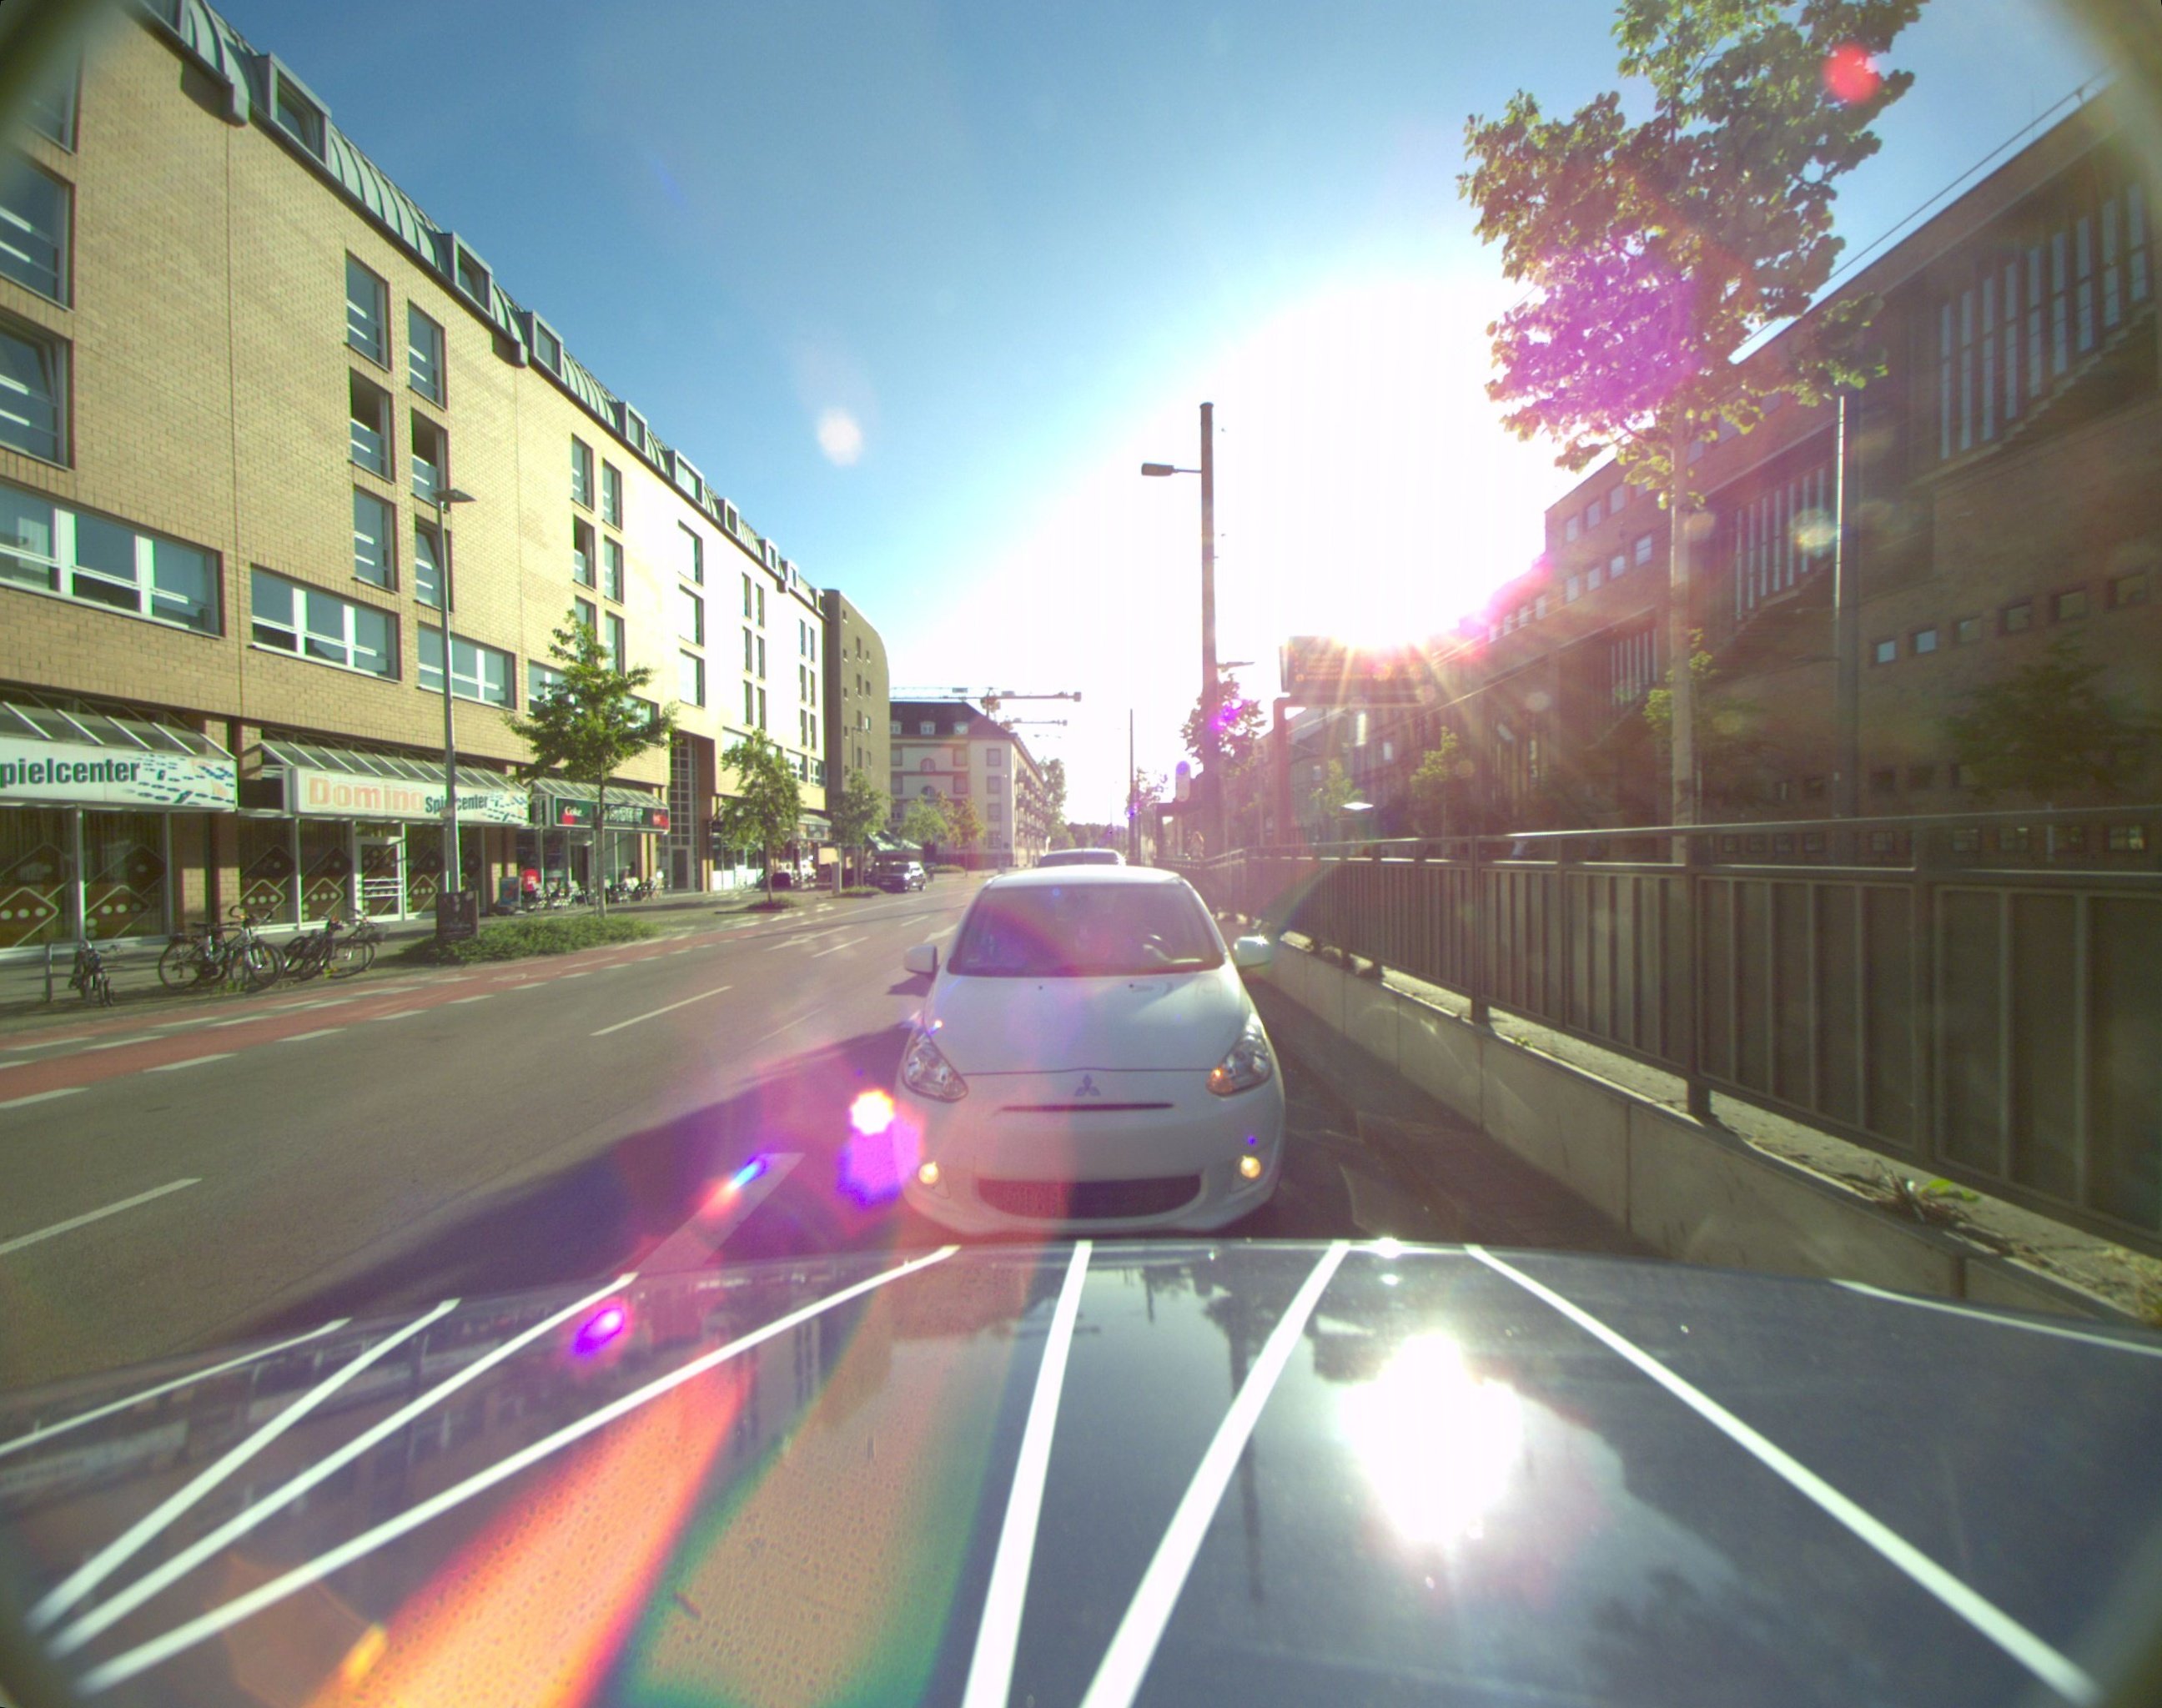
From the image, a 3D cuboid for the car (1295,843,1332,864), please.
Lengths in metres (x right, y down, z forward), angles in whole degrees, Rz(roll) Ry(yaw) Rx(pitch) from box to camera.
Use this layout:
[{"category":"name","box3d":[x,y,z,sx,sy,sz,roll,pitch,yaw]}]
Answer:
[{"category":"car","box3d":[17.232,-0.025,56.446,1.702,1.477,3.704,-1,0,1]}]

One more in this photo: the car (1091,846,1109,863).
[{"category":"car","box3d":[2.102,0.051,86.903,1.998,1.958,4.000,-1,0,1]}]

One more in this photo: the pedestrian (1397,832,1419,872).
[{"category":"pedestrian","box3d":[14.454,-0.088,33.551,0.692,1.732,0.586,-1,1,-2]}]

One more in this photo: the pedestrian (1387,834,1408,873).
[{"category":"pedestrian","box3d":[14.481,-0.019,34.793,0.692,1.732,0.586,-1,1,-2]}]

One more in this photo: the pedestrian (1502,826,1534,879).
[{"category":"pedestrian","box3d":[14.407,-0.047,25.059,0.692,1.732,0.586,-1,1,-2]}]

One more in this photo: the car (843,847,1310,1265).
[{"category":"car","box3d":[0.014,0.722,4.854,1.640,1.458,4.186,-2,1,1]}]

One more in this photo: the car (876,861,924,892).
[{"category":"car","box3d":[-9.854,1.188,41.614,1.655,1.521,3.693,-2,1,1]}]

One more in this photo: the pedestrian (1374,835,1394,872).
[{"category":"pedestrian","box3d":[14.382,-0.016,36.096,0.692,1.732,0.586,-1,1,-2]}]

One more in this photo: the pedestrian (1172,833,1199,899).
[{"category":"pedestrian","box3d":[3.272,0.364,23.664,0.783,2.002,0.881,-1,1,9]}]

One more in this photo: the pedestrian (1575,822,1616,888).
[{"category":"pedestrian","box3d":[13.907,0.023,20.534,0.692,1.732,0.586,-1,1,-2]}]

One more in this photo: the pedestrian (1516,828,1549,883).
[{"category":"pedestrian","box3d":[14.429,0.044,24.309,0.692,1.732,0.586,-1,1,-2]}]

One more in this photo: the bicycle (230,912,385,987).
[{"category":"bicycle","box3d":[-12.393,1.514,12.207,1.774,1.065,0.737,0,2,3]}]

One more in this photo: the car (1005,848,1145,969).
[{"category":"car","box3d":[-0.061,0.775,13.152,1.955,1.652,4.355,-2,1,1]}]

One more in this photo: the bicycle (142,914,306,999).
[{"category":"bicycle","box3d":[-12.355,1.464,10.975,1.774,1.135,0.553,0,2,3]}]

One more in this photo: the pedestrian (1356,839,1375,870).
[{"category":"pedestrian","box3d":[14.477,0.032,38.660,0.692,1.566,0.586,-1,1,-2]}]

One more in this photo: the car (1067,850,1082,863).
[{"category":"car","box3d":[-0.782,0.276,96.489,1.829,1.644,3.682,-1,0,-1]}]

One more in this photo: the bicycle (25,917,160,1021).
[{"category":"bicycle","box3d":[-12.780,1.449,9.820,1.771,1.142,0.554,1,2,21]}]

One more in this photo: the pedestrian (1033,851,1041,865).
[{"category":"pedestrian","box3d":[-5.022,0.451,86.916,0.804,1.656,0.891,-1,1,-6]}]

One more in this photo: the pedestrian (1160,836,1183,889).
[{"category":"pedestrian","box3d":[3.475,0.331,29.192,0.784,2.002,0.880,-1,1,0]}]

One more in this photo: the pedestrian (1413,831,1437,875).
[{"category":"pedestrian","box3d":[13.957,-0.038,30.833,0.692,1.732,0.586,-1,1,-2]}]

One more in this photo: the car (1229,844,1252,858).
[{"category":"car","box3d":[16.867,-0.288,80.655,1.702,1.477,3.704,-1,0,1]}]
